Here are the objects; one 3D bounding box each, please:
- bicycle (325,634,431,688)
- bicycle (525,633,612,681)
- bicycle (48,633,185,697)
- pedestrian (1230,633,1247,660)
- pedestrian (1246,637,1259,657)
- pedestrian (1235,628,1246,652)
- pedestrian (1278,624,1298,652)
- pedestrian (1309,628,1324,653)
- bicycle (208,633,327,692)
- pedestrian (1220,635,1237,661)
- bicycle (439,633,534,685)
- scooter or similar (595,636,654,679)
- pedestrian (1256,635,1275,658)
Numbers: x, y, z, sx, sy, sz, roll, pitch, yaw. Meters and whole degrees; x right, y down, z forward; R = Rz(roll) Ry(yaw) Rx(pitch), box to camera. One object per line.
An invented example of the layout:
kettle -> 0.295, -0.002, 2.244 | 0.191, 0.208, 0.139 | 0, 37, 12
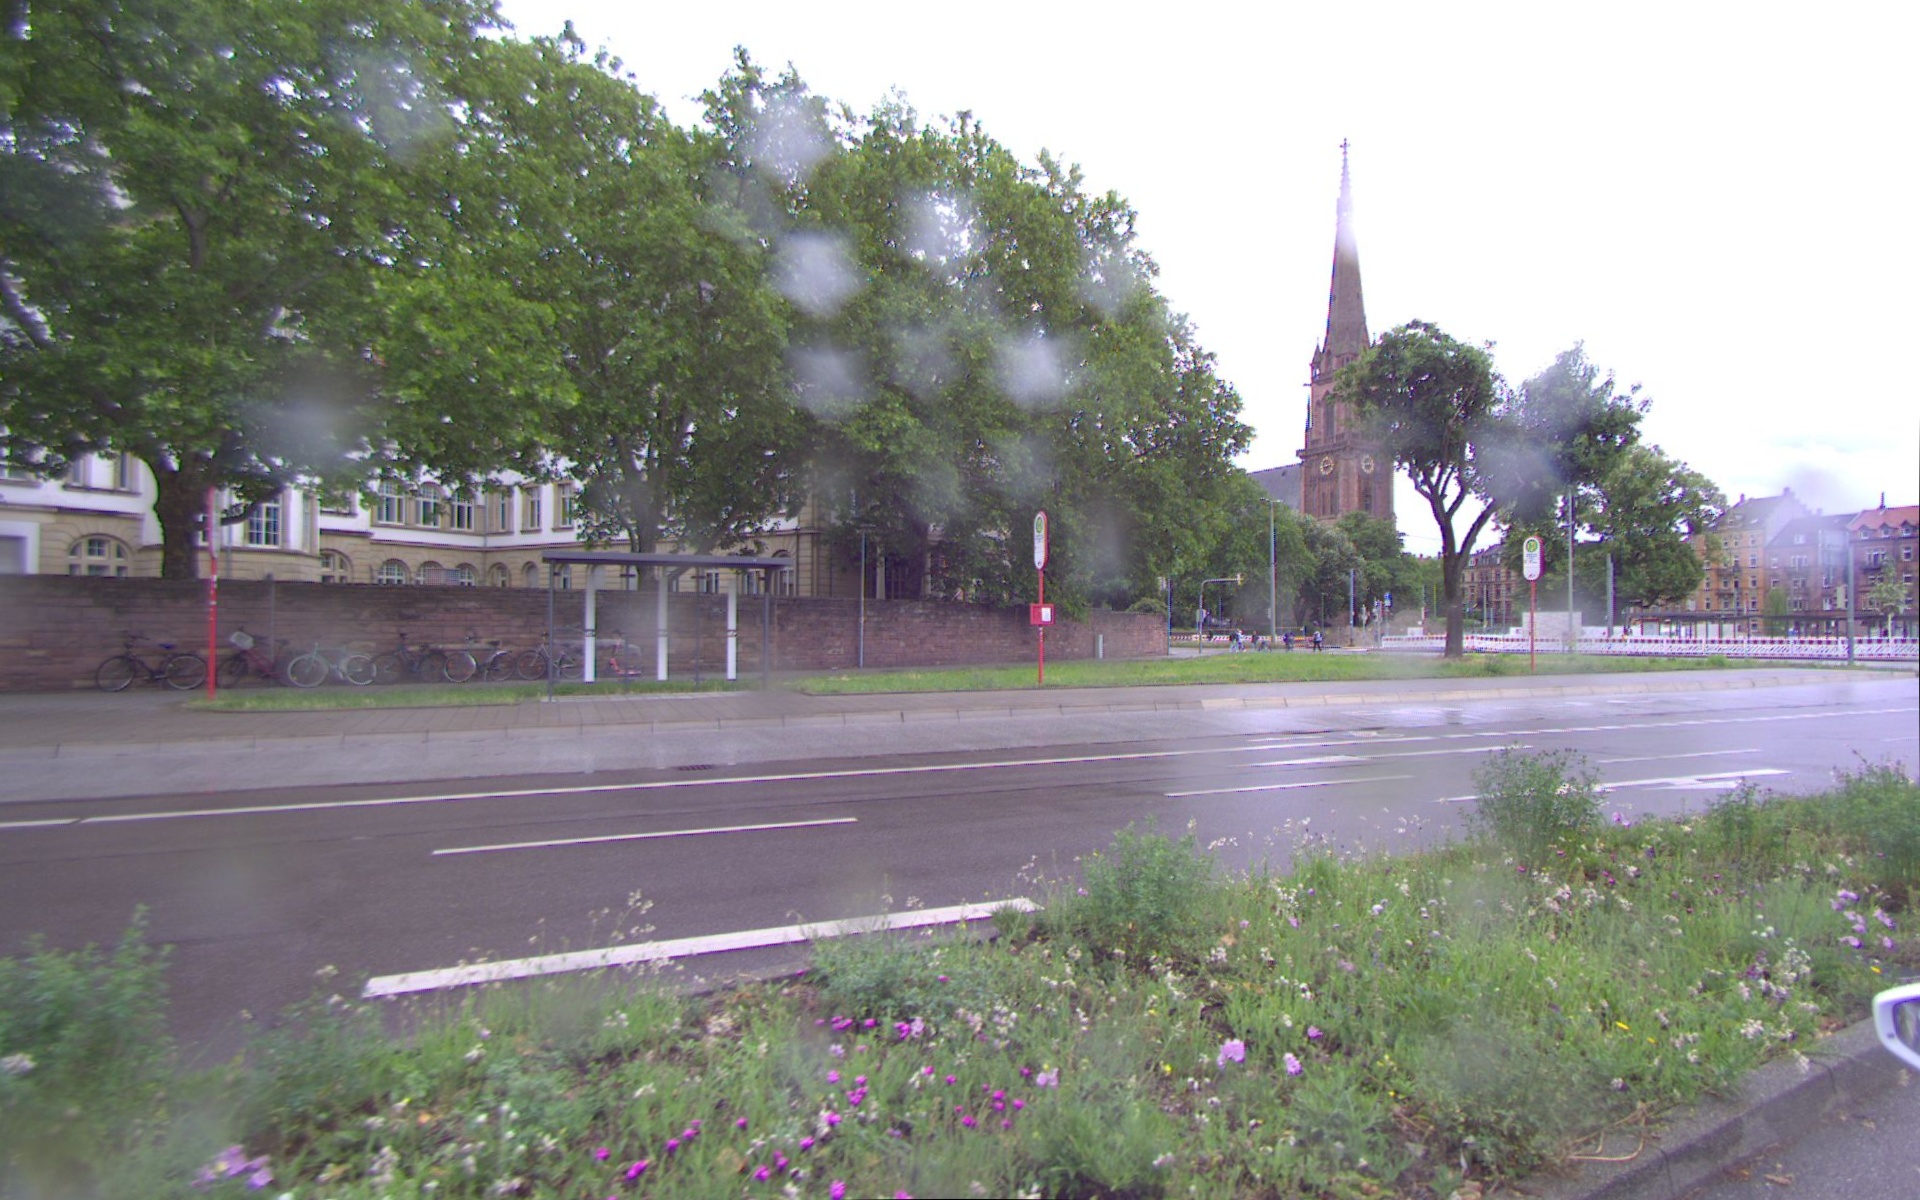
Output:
bicycle -> -12.909, 1.332, 22.329 | 1.975, 1.151, 0.568 | 1, -1, -40
bicycle -> -9.857, 1.408, 25.363 | 1.975, 1.151, 0.568 | 1, -1, -40
bicycle -> -16.145, 1.220, 19.257 | 1.978, 1.151, 0.567 | 1, -2, -44
pedestrian -> 21.337, 3.587, 76.932 | 0.942, 2.040, 0.855 | 1, -1, -21
pedestrian -> 21.972, 3.527, 75.380 | 0.666, 1.520, 0.770 | -1, -1, 44
pedestrian -> 22.450, 3.181, 80.470 | 0.594, 1.915, 0.602 | 1, -1, -26
pedestrian -> 24.048, 2.793, 73.629 | 0.984, 2.040, 1.301 | -1, -1, 43
pedestrian -> 25.858, 2.922, 72.834 | 0.763, 1.801, 0.723 | 1, -1, -21
bicycle -> -14.346, 1.263, 20.849 | 1.978, 1.151, 0.567 | 1, -2, -44
pedestrian -> 20.767, 3.699, 77.719 | 0.942, 2.040, 0.855 | 1, -1, -21
bicycle -> -11.200, 1.378, 23.807 | 1.975, 1.151, 0.568 | 1, -1, -40
scooter or similar -> -8.798, 1.494, 26.337 | 1.351, 1.060, 0.567 | 1, -1, -40
pedestrian -> 21.537, 3.269, 70.810 | 0.920, 1.560, 1.054 | -1, -1, 43
